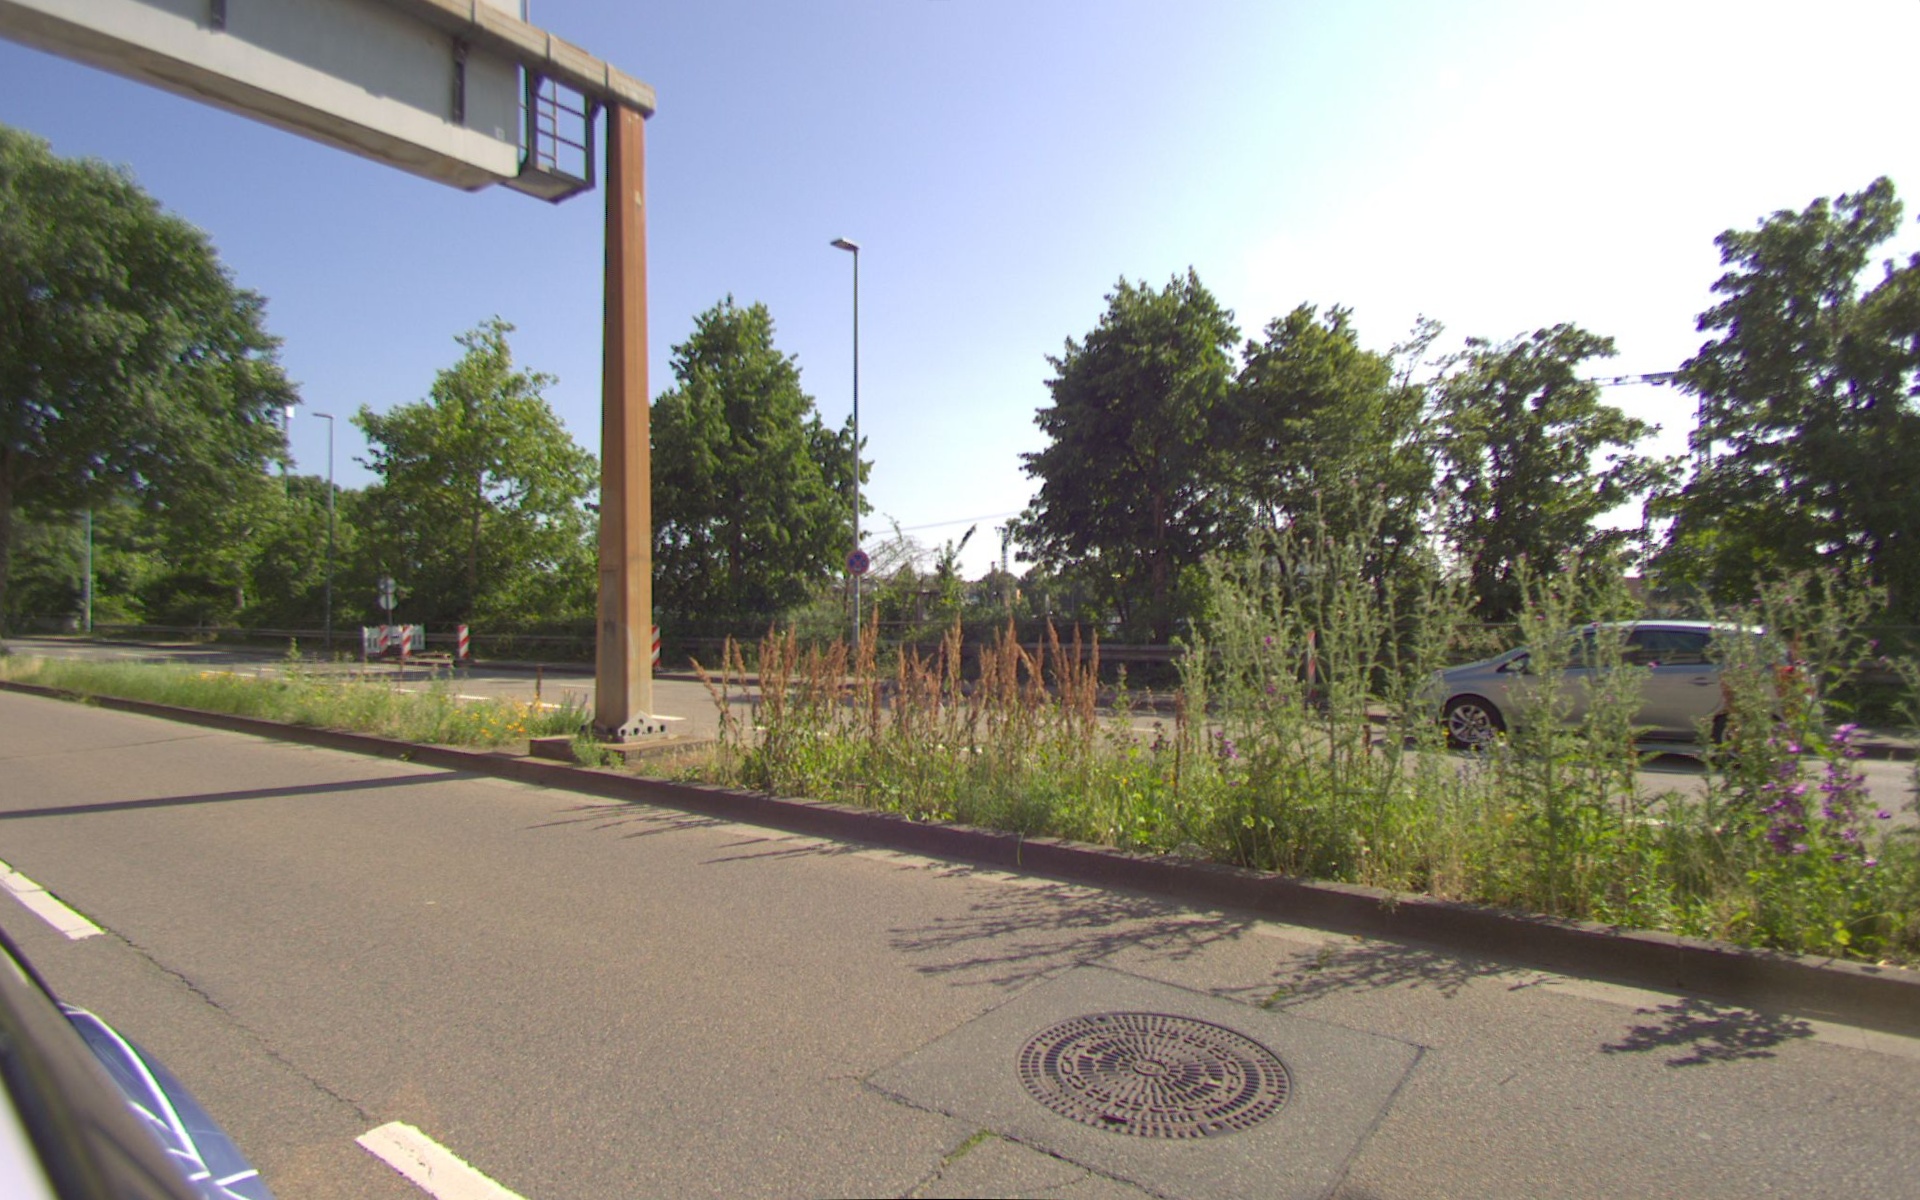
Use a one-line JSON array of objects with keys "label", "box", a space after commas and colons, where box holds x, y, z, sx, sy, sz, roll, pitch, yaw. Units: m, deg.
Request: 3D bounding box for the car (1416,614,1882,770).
[{"label": "car", "box": [7.308, 0.897, 11.099, 3.964, 1.427, 1.630, -1, -3, 37]}]
